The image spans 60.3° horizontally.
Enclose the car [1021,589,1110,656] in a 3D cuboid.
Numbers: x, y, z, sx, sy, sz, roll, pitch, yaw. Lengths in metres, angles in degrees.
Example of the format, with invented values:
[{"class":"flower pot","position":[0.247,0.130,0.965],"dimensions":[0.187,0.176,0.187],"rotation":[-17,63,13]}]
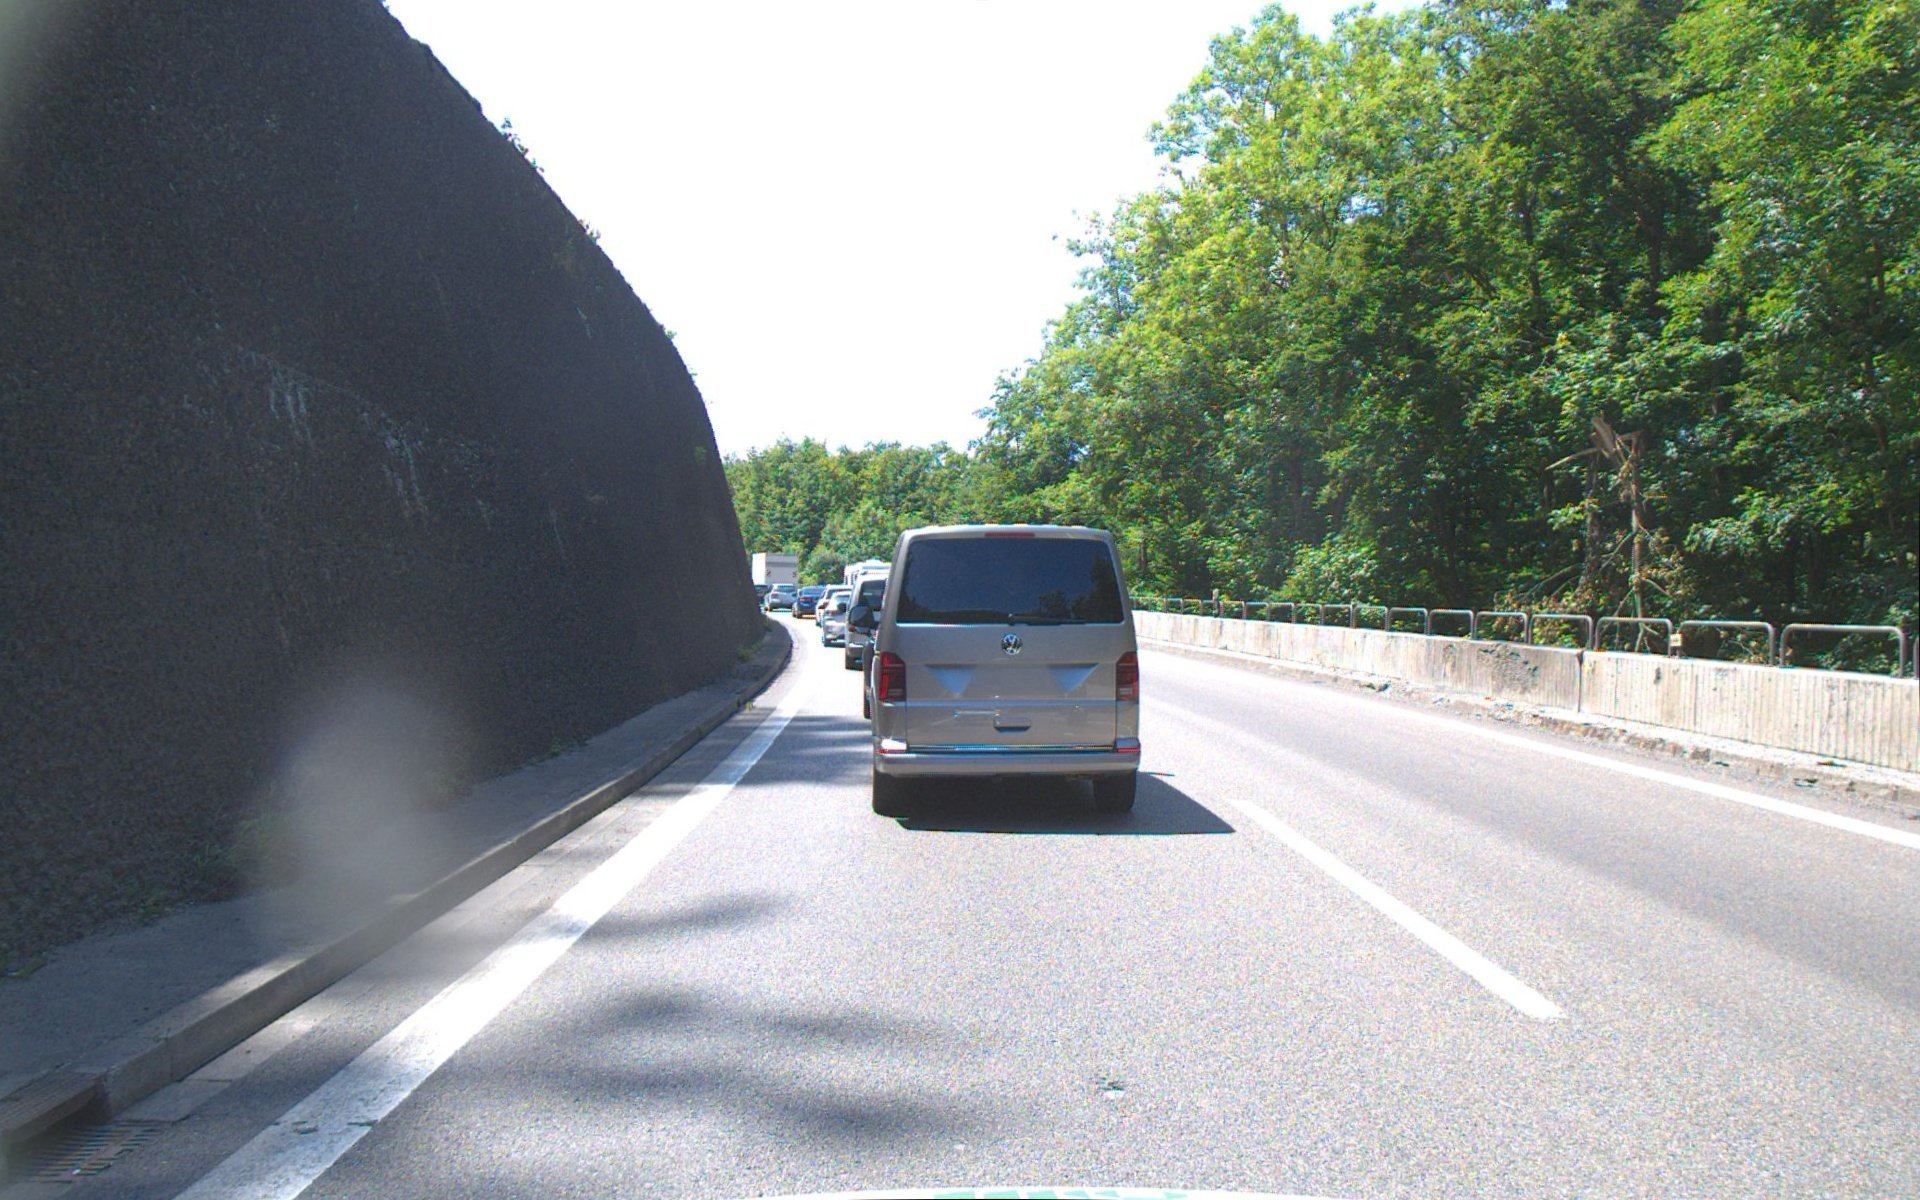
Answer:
[{"class":"car","position":[2.484,0.514,39.828],"dimensions":[1.651,1.484,3.998],"rotation":[2,0,-3]}]

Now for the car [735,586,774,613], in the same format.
[{"class":"car","position":[-12.595,-0.025,101.358],"dimensions":[1.723,1.598,3.753],"rotation":[1,0,-17]}]

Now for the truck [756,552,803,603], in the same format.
[{"class":"truck","position":[-13.711,-1.656,125.068],"dimensions":[2.873,3.751,7.702],"rotation":[0,0,-12]}]

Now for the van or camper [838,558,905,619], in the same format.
[{"class":"van or camper","position":[-4.718,-0.652,87.094],"dimensions":[2.557,2.904,6.321],"rotation":[5,0,-10]}]

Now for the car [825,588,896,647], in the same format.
[{"class":"car","position":[-2.725,0.448,44.732],"dimensions":[1.737,1.498,3.995],"rotation":[1,0,-6]}]

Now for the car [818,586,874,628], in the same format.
[{"class":"car","position":[-4.287,0.235,61.597],"dimensions":[1.828,1.512,3.993],"rotation":[1,0,-7]}]

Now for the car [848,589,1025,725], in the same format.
[{"class":"car","position":[-0.413,0.648,21.173],"dimensions":[1.868,1.515,4.374],"rotation":[2,0,-6]}]

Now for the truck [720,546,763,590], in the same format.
[{"class":"truck","position":[-19.755,-2.882,149.139],"dimensions":[3.108,3.527,8.199],"rotation":[5,0,-11]}]

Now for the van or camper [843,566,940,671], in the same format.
[{"class":"van or camper","position":[-1.434,0.339,33.293],"dimensions":[1.817,1.976,4.162],"rotation":[0,0,-4]}]

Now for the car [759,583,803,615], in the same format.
[{"class":"car","position":[-9.762,-0.065,90.021],"dimensions":[1.958,1.646,3.988],"rotation":[1,0,-12]}]

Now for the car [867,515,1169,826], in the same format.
[{"class":"car","position":[0.305,0.439,12.918],"dimensions":[1.901,1.965,4.693],"rotation":[1,0,-2]}]

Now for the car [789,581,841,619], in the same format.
[{"class":"car","position":[-6.606,-0.007,75.045],"dimensions":[1.825,1.648,3.988],"rotation":[1,0,-12]}]
